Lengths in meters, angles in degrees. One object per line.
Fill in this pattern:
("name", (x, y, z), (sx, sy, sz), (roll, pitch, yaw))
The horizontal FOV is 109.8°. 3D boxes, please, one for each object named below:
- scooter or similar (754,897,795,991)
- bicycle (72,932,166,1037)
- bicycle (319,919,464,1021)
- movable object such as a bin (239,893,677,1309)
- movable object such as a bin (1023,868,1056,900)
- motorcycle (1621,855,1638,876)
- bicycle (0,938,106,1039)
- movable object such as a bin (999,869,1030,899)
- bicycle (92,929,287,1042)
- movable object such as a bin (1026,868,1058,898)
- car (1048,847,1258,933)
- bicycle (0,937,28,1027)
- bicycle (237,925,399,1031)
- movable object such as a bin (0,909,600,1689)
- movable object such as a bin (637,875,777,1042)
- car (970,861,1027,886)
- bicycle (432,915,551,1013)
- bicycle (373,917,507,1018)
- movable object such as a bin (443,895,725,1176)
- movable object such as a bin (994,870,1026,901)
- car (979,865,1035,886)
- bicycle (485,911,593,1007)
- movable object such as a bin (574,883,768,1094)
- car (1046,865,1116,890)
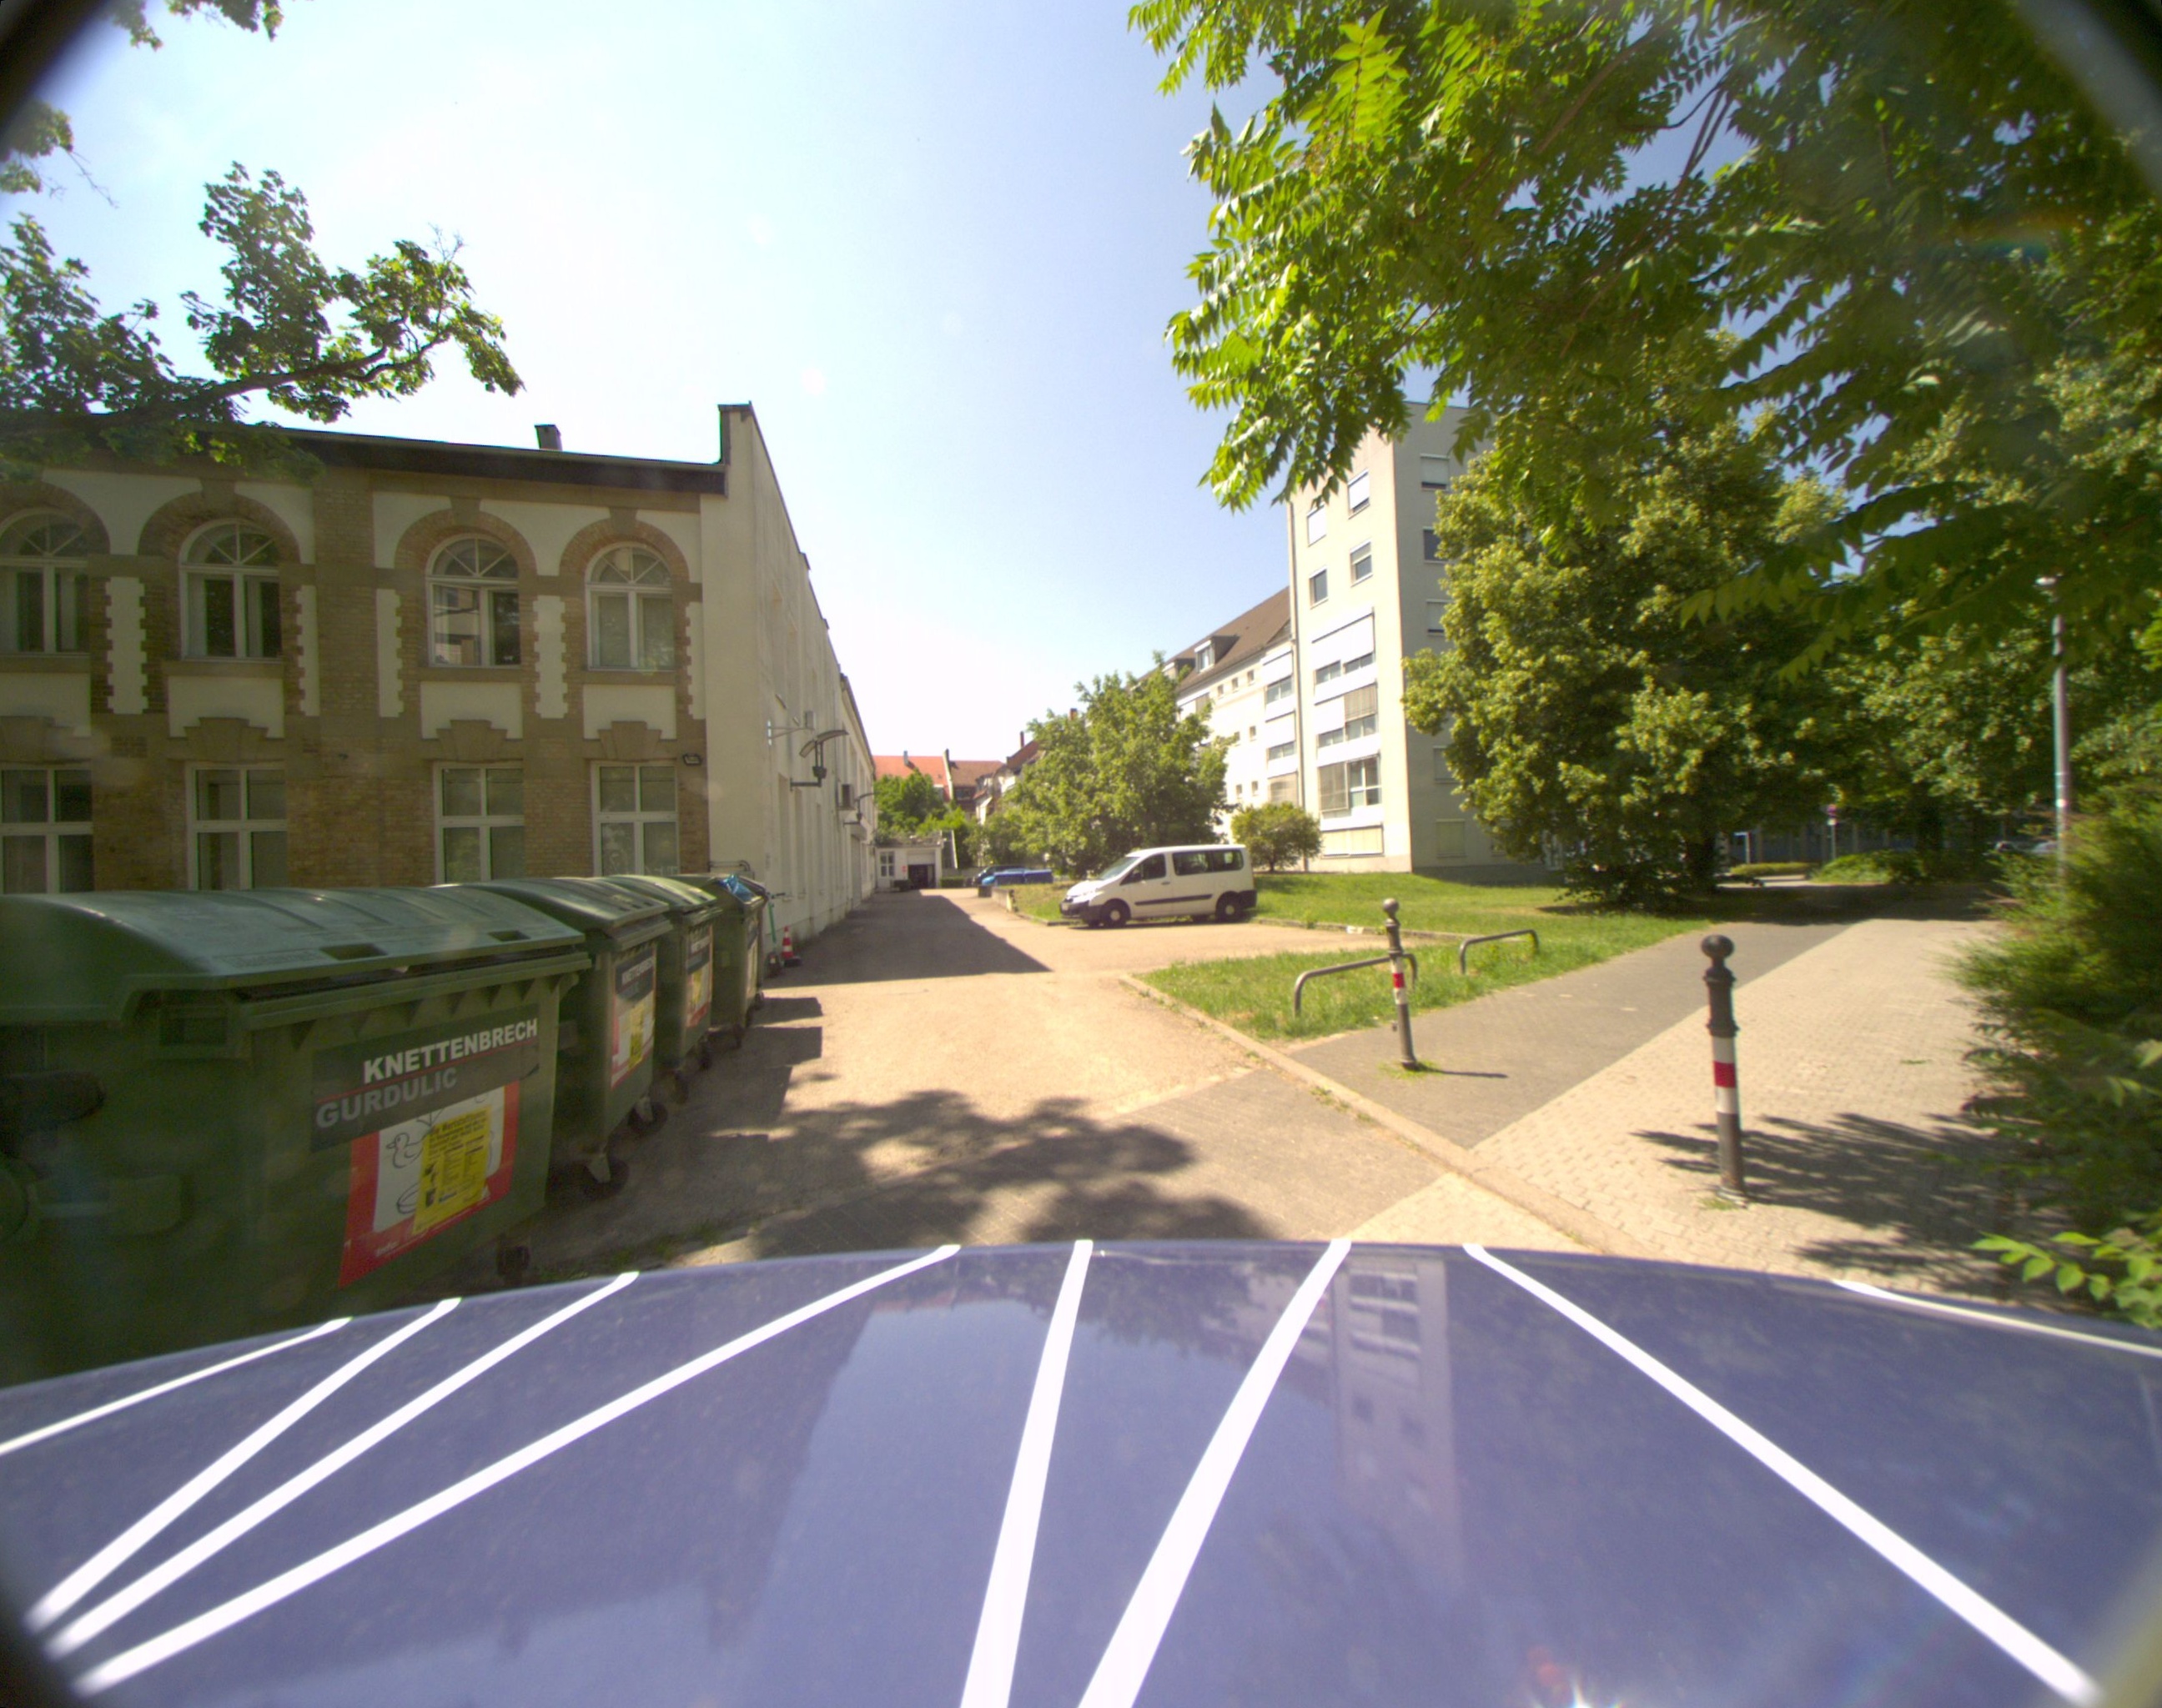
("scooter or similar", (-4.305, 1.224, 10.711), (0.465, 1.167, 1.355), (-2, 0, -21))
("bicycle", (-11.927, 1.563, 9.461), (0.473, 1.097, 1.830), (-2, -1, -44))
("bicycle", (-8.928, 1.456, 9.937), (0.505, 1.061, 1.833), (-2, 0, -11))
("movable object such as a bin", (-2.784, 0.980, 3.684), (1.183, 1.461, 1.309), (-2, 1, -18))
("movable object such as a bin", (-1.854, 1.326, 33.862), (1.259, 1.320, 1.103), (-2, 0, -13))
("motorcycle", (32.510, 0.655, 45.043), (0.698, 1.161, 2.316), (-2, 0, 38))
("bicycle", (-12.803, 1.619, 8.952), (0.523, 1.064, 1.833), (-2, 0, -11))
("movable object such as a bin", (-3.111, 1.389, 35.386), (1.259, 1.320, 1.103), (-2, 0, -13))
("bicycle", (-10.907, 1.560, 9.403), (0.523, 1.096, 1.834), (-2, -1, -11))
("movable object such as a bin", (-1.840, 1.338, 35.720), (1.259, 1.320, 1.103), (-2, 0, -13))
("car", (1.775, 0.856, 19.090), (4.807, 1.899, 1.998), (-1, -1, -18))
("bicycle", (-13.553, 1.602, 8.756), (0.523, 1.093, 1.840), (-2, 0, -11))
("bicycle", (-9.651, 1.520, 9.717), (0.505, 1.061, 1.834), (-2, -1, -11))
("movable object such as a bin", (-2.430, 0.966, 2.188), (1.182, 1.461, 1.332), (-2, 1, -1))
("movable object such as a bin", (-3.903, 1.020, 8.103), (1.160, 1.497, 1.460), (-3, 1, -22))
("car", (-6.940, 1.609, 63.768), (4.454, 1.821, 1.997), (-2, 0, -16))
("bicycle", (-7.826, 1.411, 10.179), (0.455, 1.061, 1.834), (-2, -1, -11))
("bicycle", (-8.365, 1.436, 10.020), (0.505, 1.061, 1.834), (-2, -1, -11))
("movable object such as a bin", (-3.170, 1.068, 5.074), (1.183, 1.461, 1.309), (-2, 1, -17))
("movable object such as a bin", (-3.142, 1.378, 33.555), (1.259, 1.320, 1.103), (-2, 0, -13))
("car", (-5.947, 1.723, 61.310), (4.173, 1.544, 1.857), (-2, 0, -18))
("bicycle", (-7.293, 1.373, 10.324), (0.455, 1.061, 1.834), (-2, -1, -11))
("movable object such as a bin", (-3.375, 1.032, 6.445), (1.183, 1.461, 1.309), (-2, 1, -19))
("car", (-0.018, 1.436, 46.619), (4.002, 1.428, 1.709), (-1, -1, -16))
